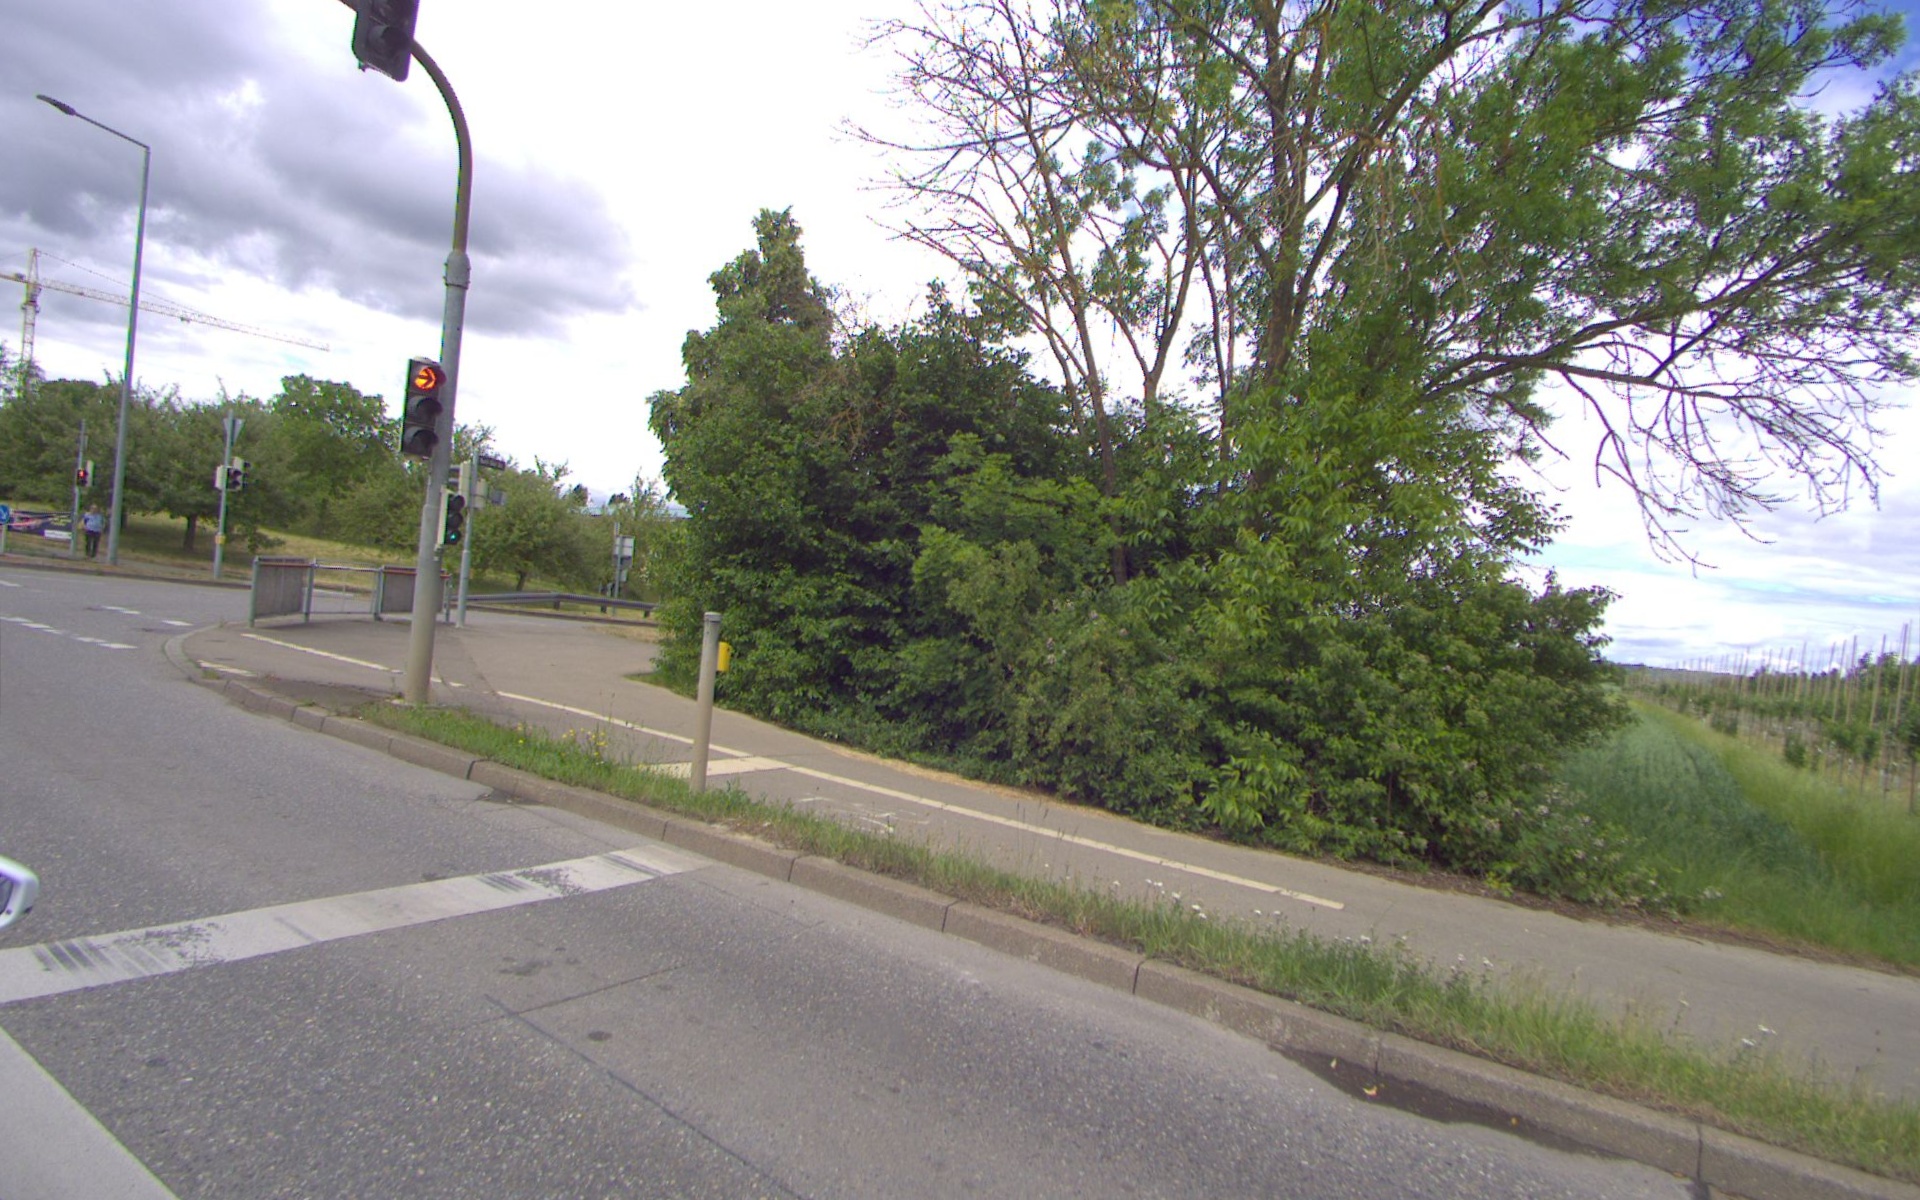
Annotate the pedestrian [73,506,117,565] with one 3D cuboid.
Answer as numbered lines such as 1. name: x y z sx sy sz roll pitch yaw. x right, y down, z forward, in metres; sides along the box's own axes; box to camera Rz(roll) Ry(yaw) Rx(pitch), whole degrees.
1. pedestrian: -28.774 -2.145 33.459 1.027 1.813 0.719 6 -1 35
